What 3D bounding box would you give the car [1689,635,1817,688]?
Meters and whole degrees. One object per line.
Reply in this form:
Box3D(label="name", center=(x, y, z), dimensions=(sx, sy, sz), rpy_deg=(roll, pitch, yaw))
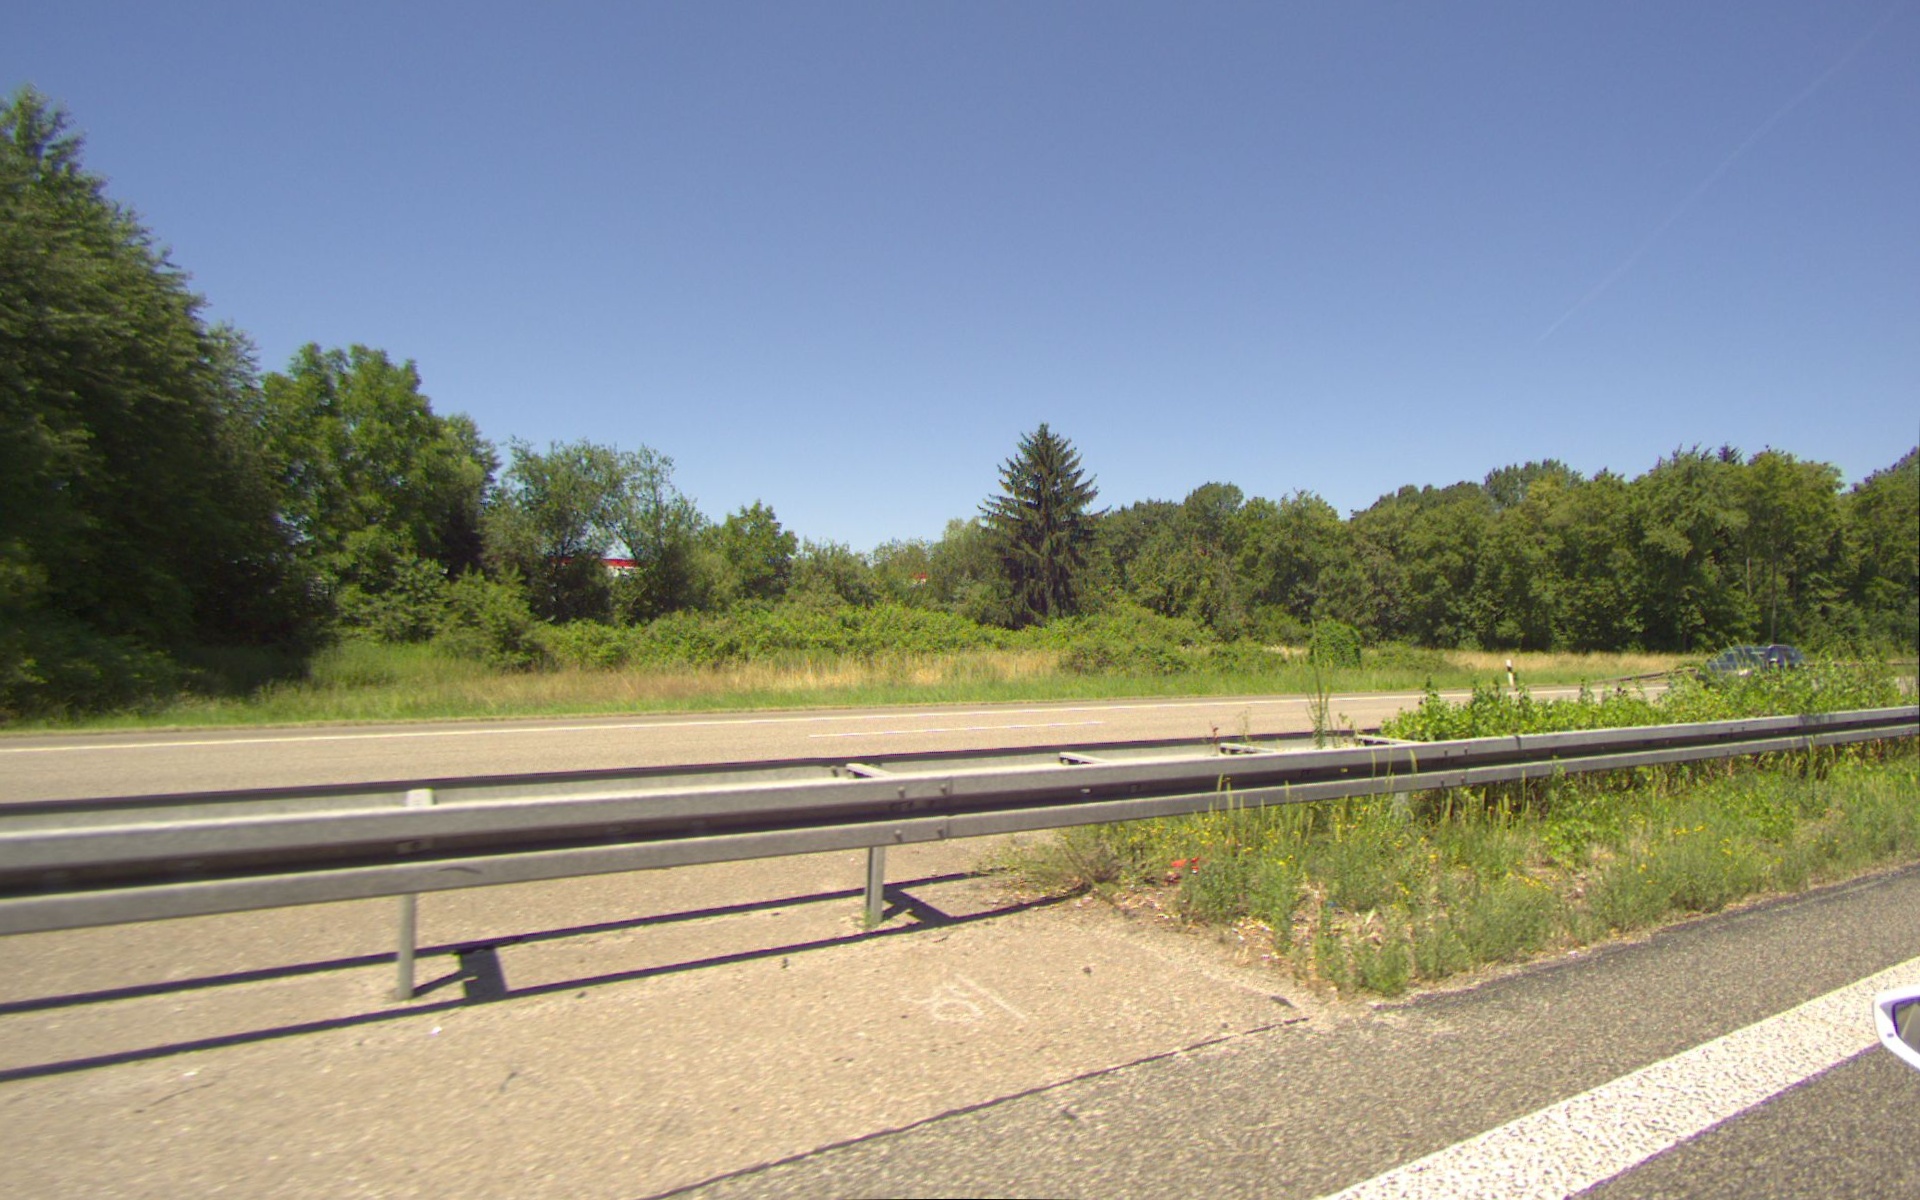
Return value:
Box3D(label="car", center=(25.714, 1.956, 32.530), dimensions=(4.625, 1.552, 1.790), rpy_deg=(1, -1, -32))
